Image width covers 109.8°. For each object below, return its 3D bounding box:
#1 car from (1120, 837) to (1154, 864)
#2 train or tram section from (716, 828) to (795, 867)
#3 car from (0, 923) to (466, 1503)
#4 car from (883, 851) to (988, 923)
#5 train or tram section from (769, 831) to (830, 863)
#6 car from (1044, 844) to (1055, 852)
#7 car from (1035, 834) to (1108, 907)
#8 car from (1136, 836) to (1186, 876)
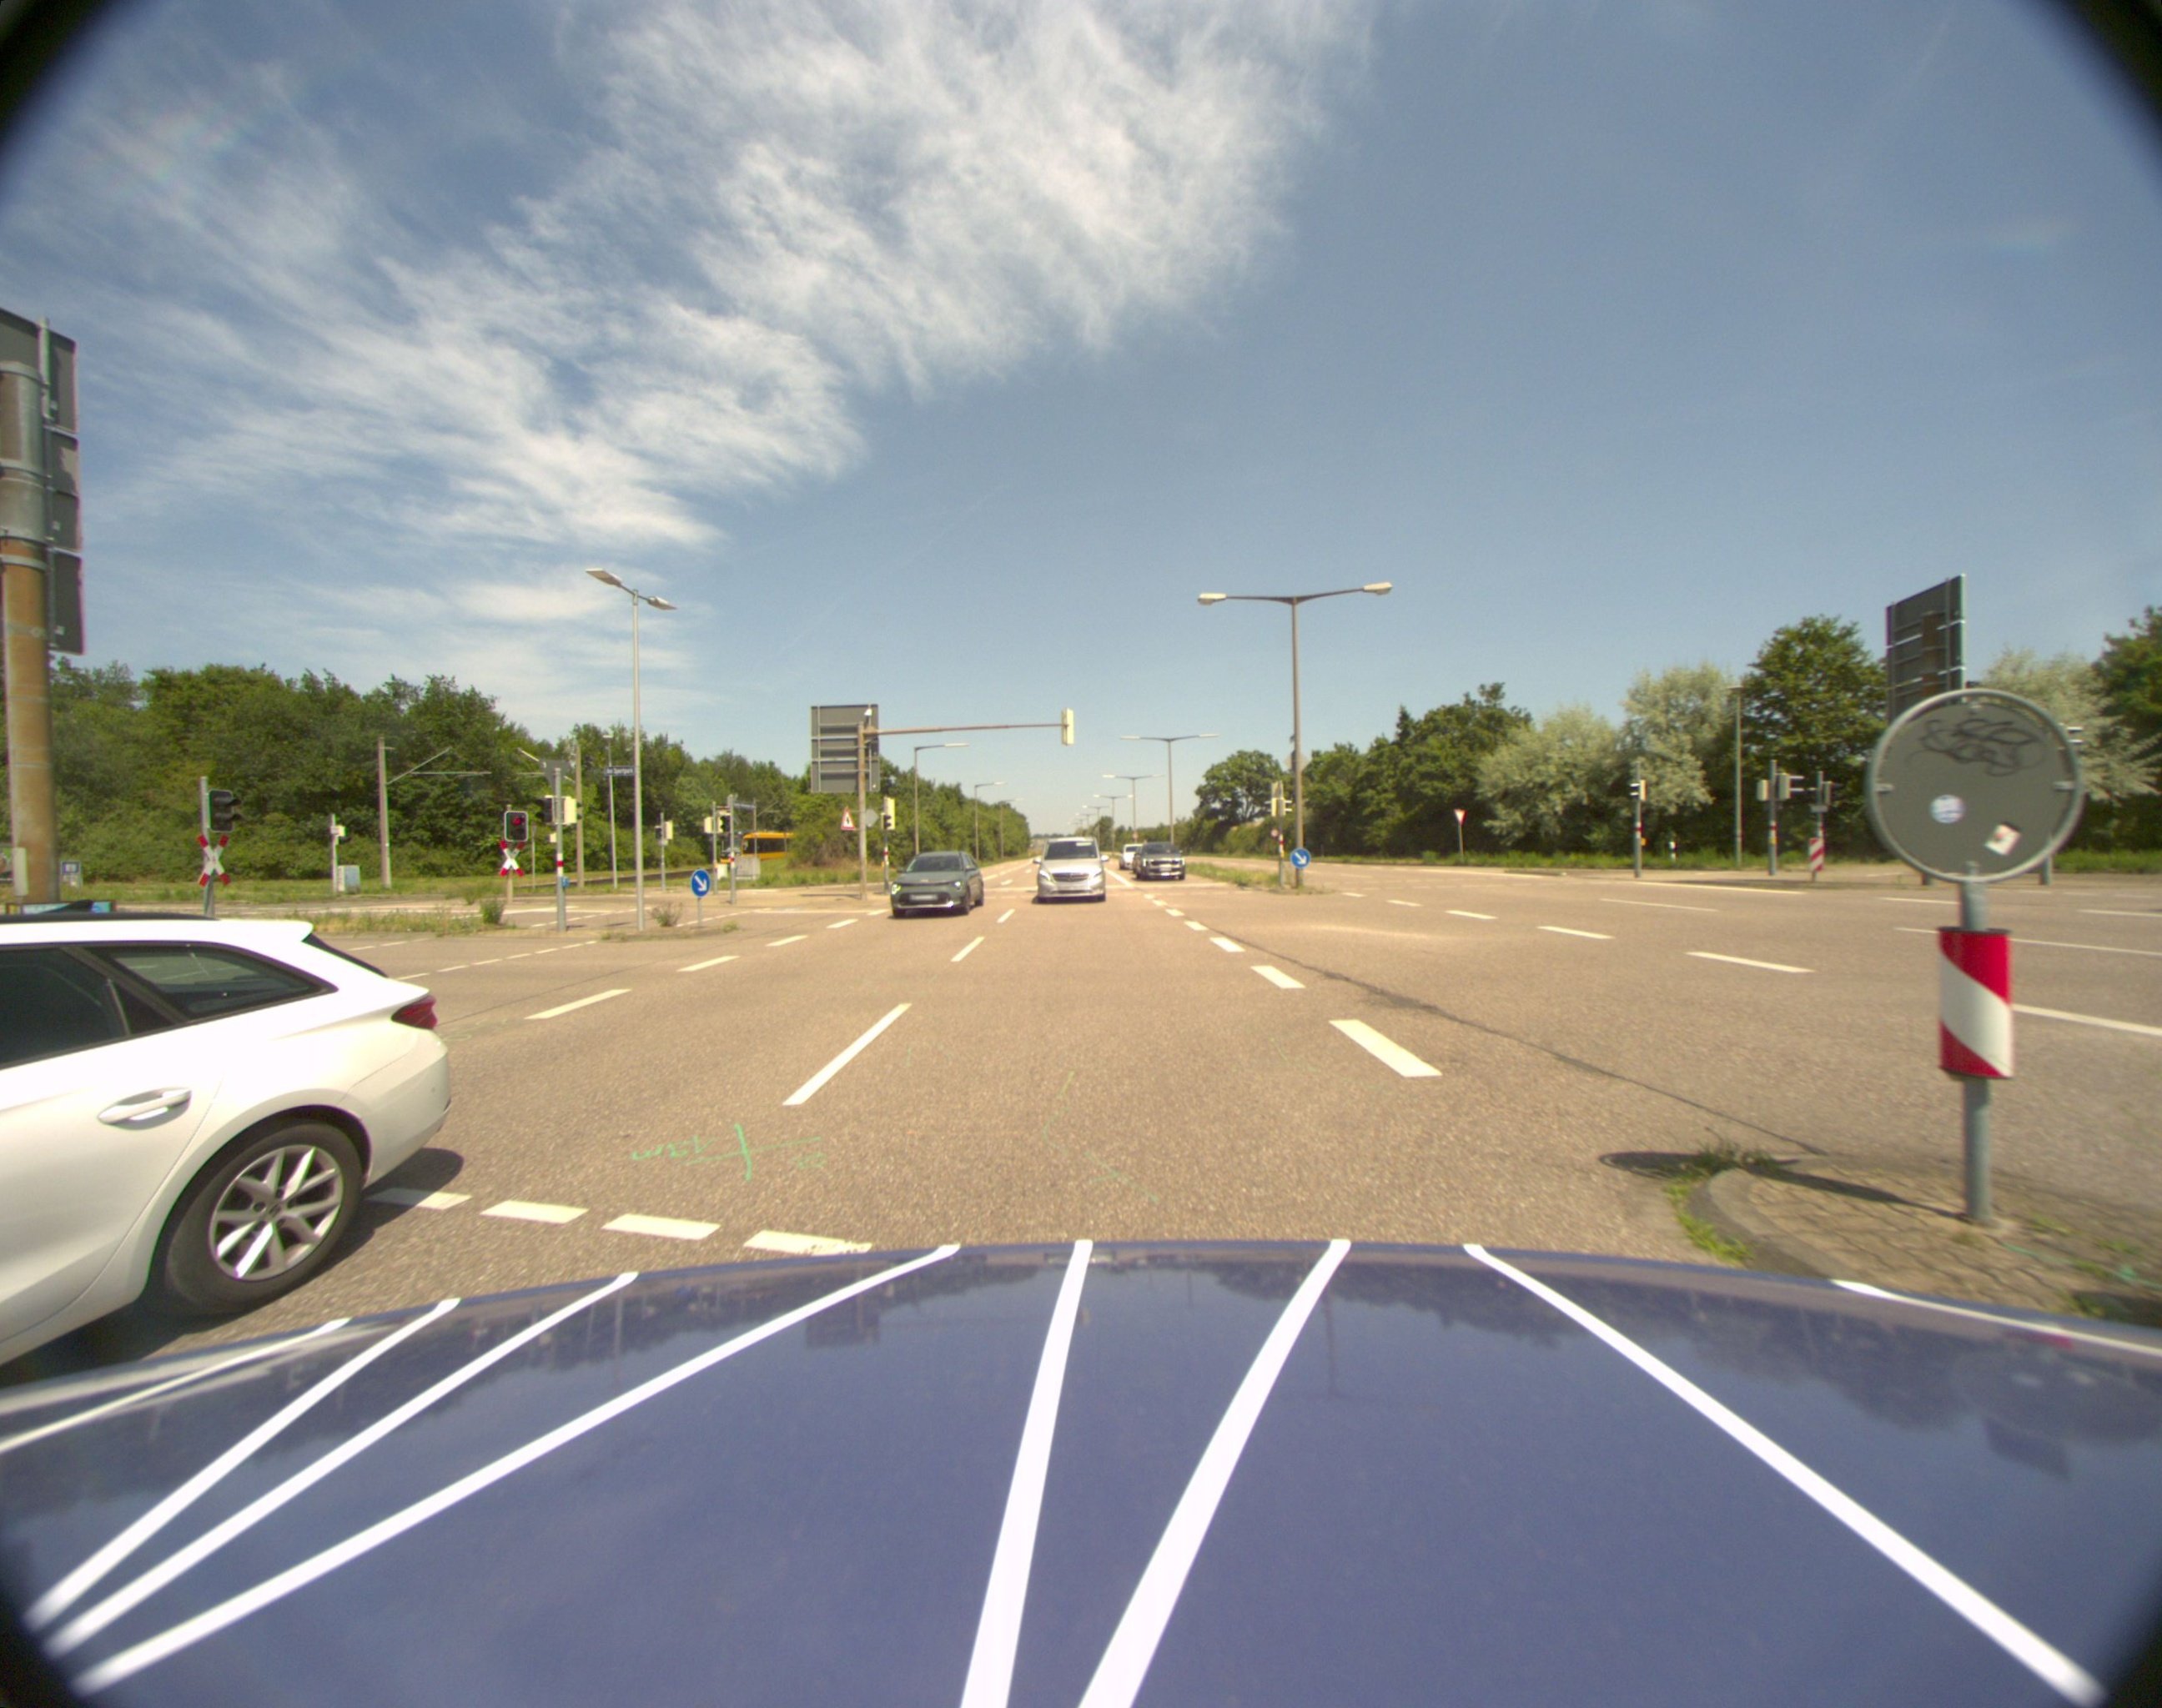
[{"bbox_3d":[3.682,-0.264,50.944,1.921,1.662,4.000,-1,2,-1],"label":"car"},{"bbox_3d":[-33.099,-0.698,78.010,2.821,3.561,12.497,-1,1,-1],"label":"train or tram section"},{"bbox_3d":[-3.736,1.063,1.274,1.686,1.382,4.450,-1,1,1],"label":"car"},{"bbox_3d":[-3.590,0.751,19.430,1.722,1.587,4.000,-1,1,3],"label":"car"},{"bbox_3d":[-33.356,-0.861,90.605,2.821,3.561,12.497,-2,1,-2],"label":"train or tram section"},{"bbox_3d":[-6.931,-1.403,165.940,1.998,1.652,4.000,-1,1,3],"label":"car"},{"bbox_3d":[-0.187,0.386,22.892,1.876,1.866,5.731,-1,1,1],"label":"car"},{"bbox_3d":[3.594,0.059,34.788,1.785,1.658,4.530,-1,1,0],"label":"car"}]
